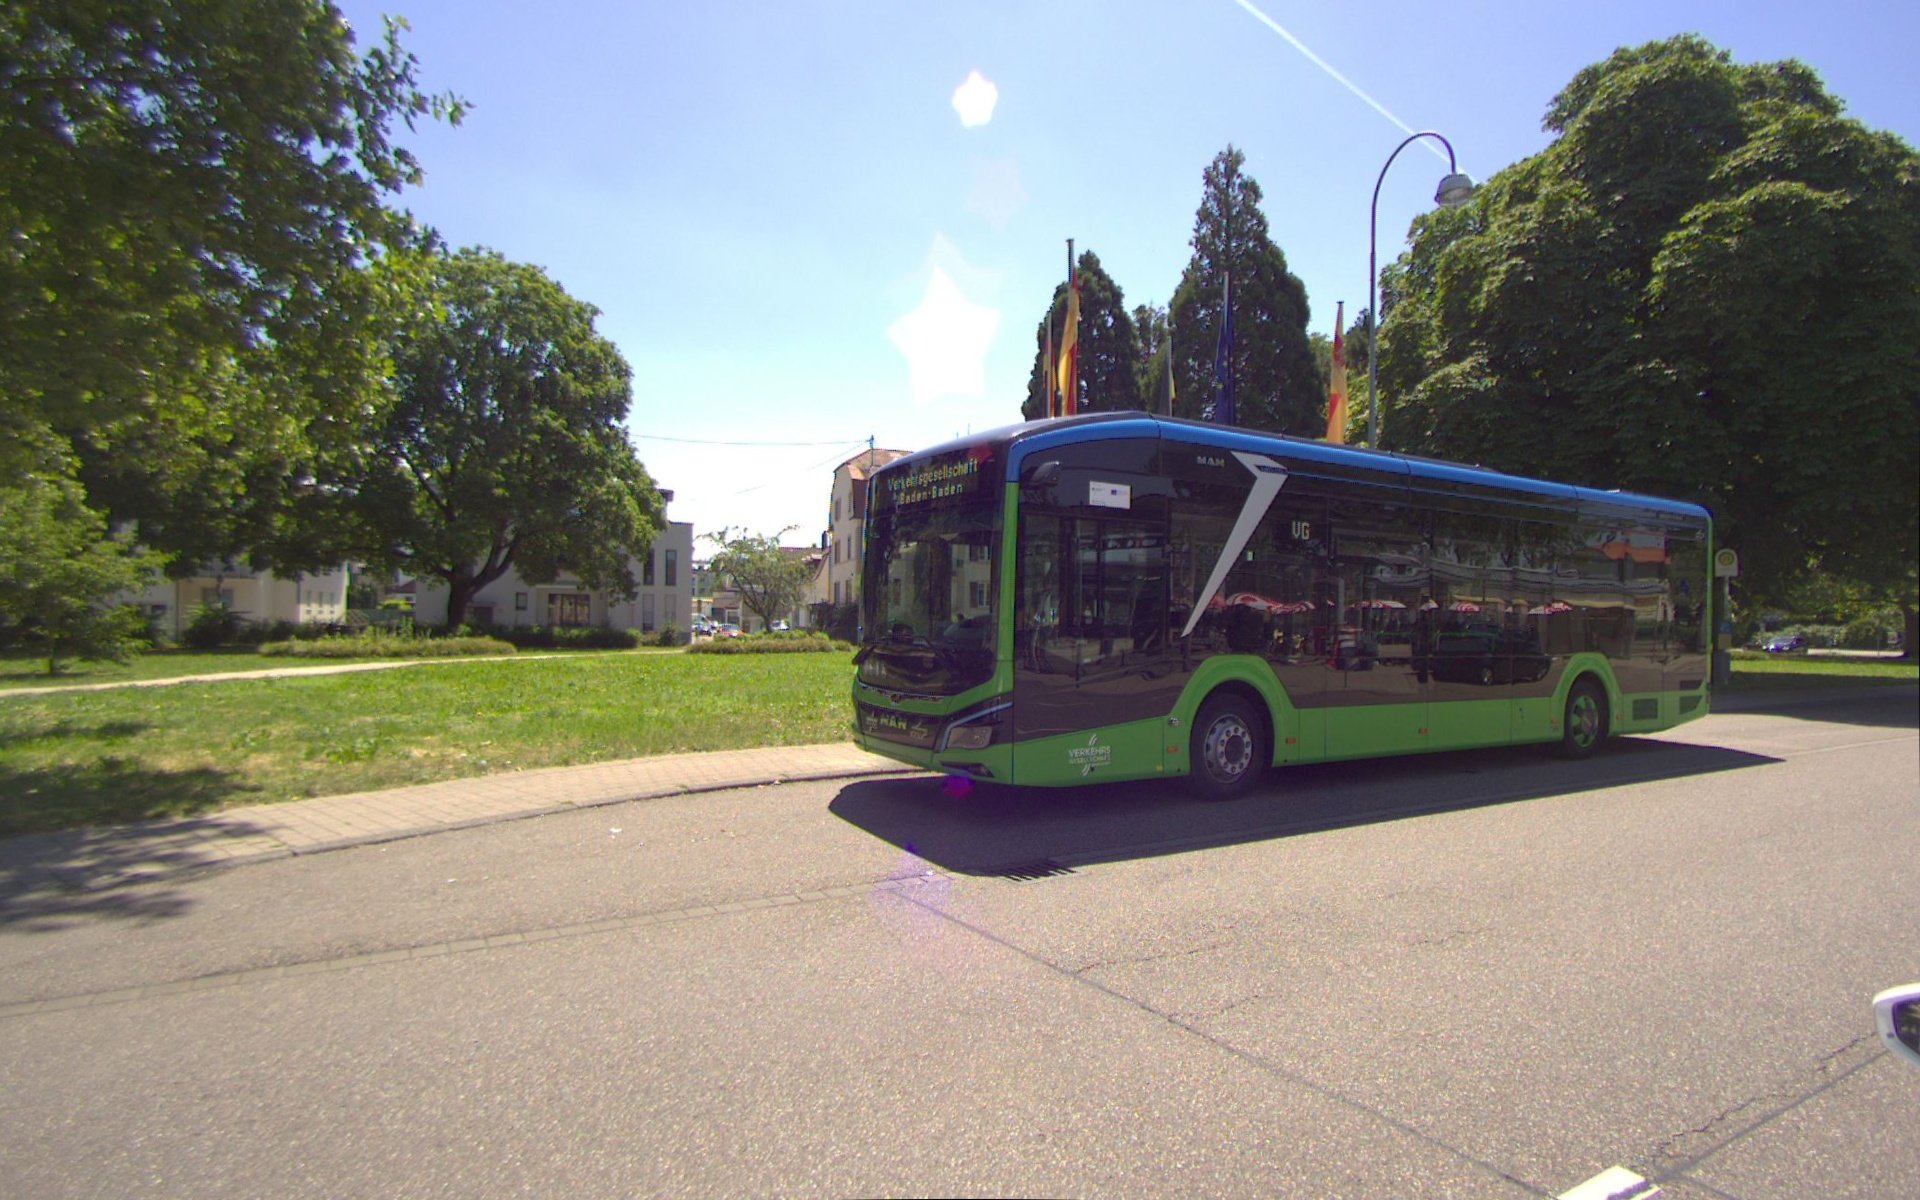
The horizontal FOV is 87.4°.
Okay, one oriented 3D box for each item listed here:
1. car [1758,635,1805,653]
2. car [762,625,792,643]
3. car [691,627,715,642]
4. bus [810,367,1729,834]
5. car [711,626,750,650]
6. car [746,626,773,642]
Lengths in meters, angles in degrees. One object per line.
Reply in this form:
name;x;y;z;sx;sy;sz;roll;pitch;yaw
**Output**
car;66.555;3.550;81.373;3.751;1.429;1.546;1;-1;-26
car;-17.500;3.246;96.151;1.972;1.604;3.978;2;-3;-23
car;-28.998;3.914;113.227;1.972;1.604;3.978;2;-3;-23
bus;4.517;0.128;11.604;12.285;3.326;2.794;1;-1;-32
car;-16.174;2.715;70.563;1.972;1.604;3.978;2;-3;-23
car;-20.984;3.602;105.152;1.972;1.604;3.978;2;-3;-23
